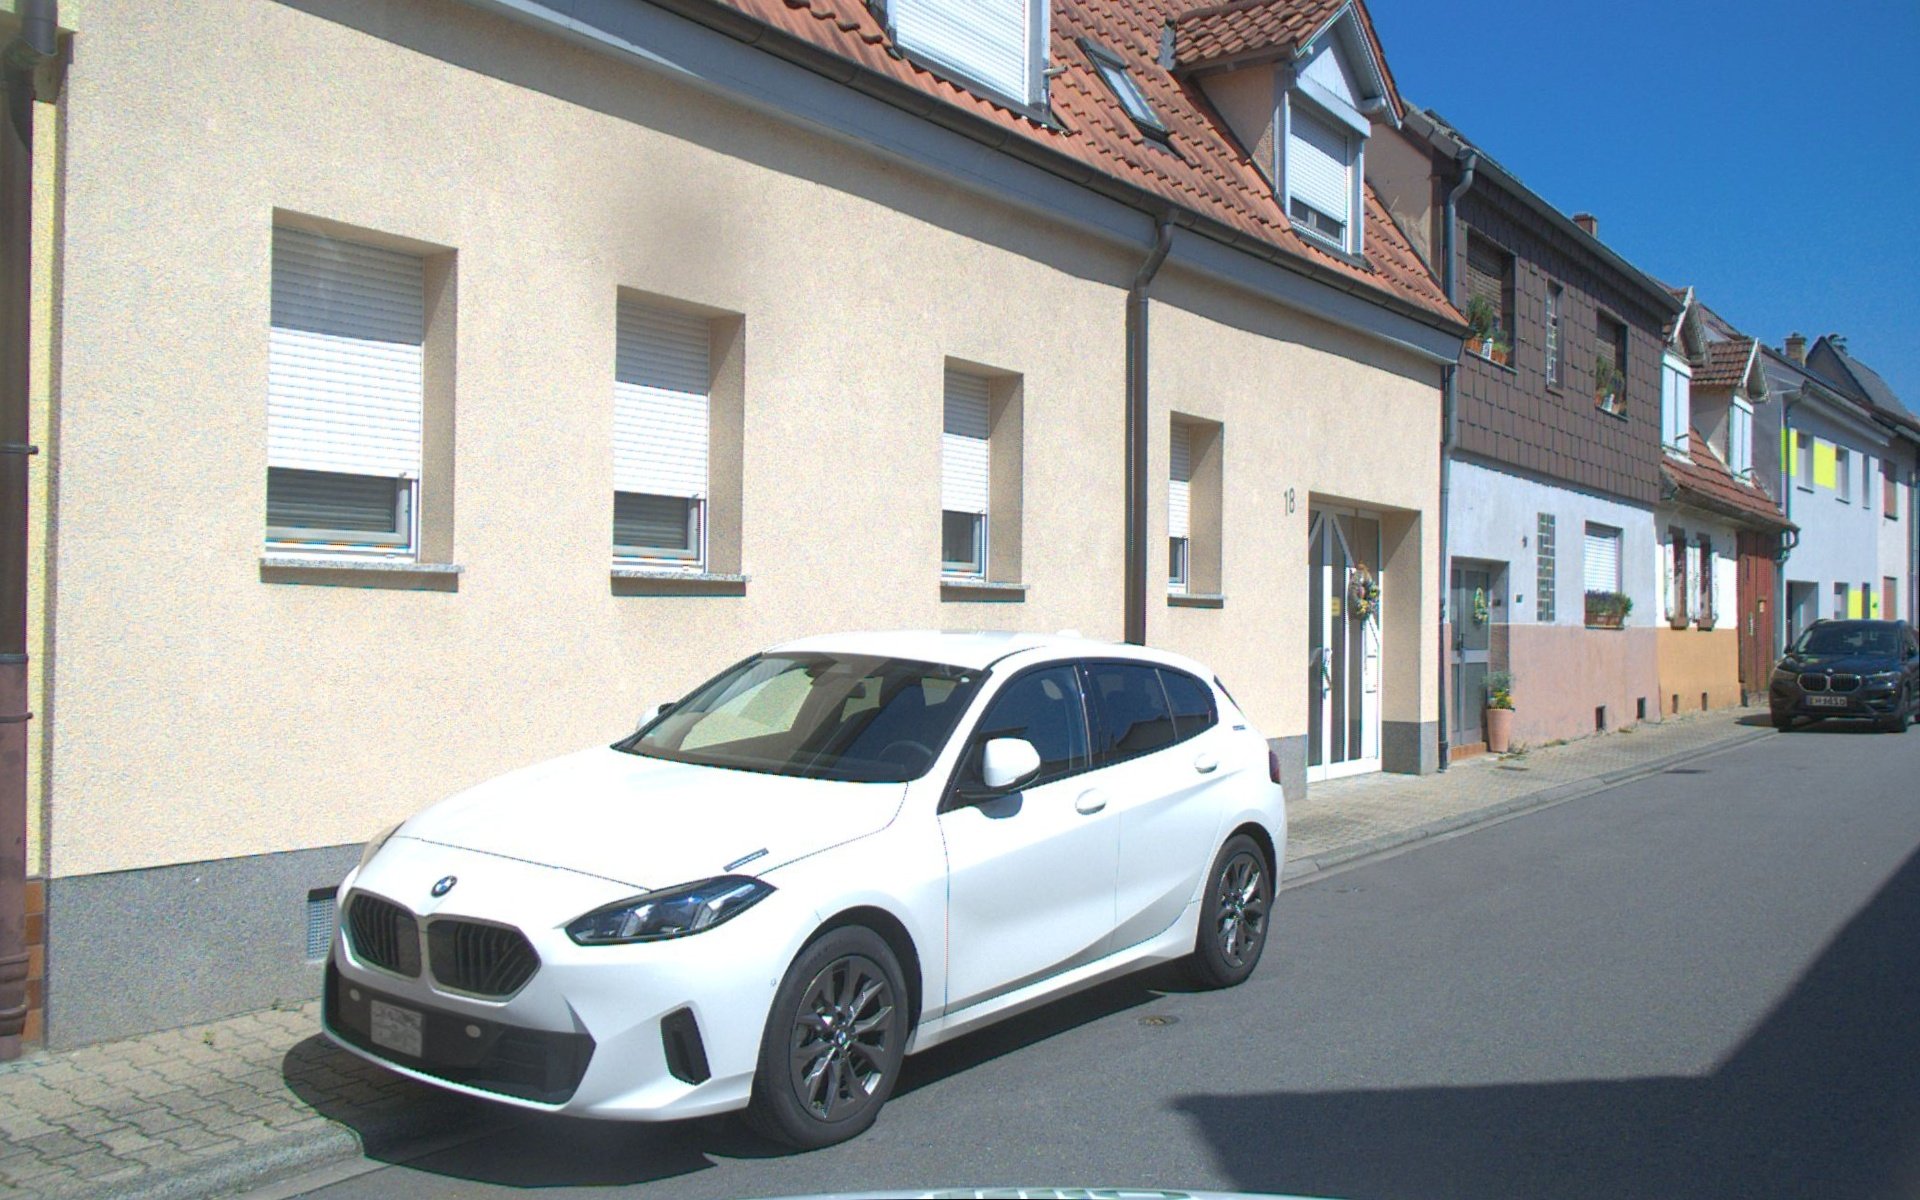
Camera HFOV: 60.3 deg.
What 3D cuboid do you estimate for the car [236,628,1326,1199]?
[{"bbox_3d":[-0.292,0.857,6.269,1.753,1.479,4.198,-1,-2,36],"label":"car"}]

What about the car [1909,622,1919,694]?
[{"bbox_3d":[21.387,1.217,35.113,1.769,1.466,4.471,-1,-2,35],"label":"car"}]

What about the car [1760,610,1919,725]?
[{"bbox_3d":[13.712,0.987,25.342,1.770,1.602,4.595,-1,-2,37],"label":"car"}]
